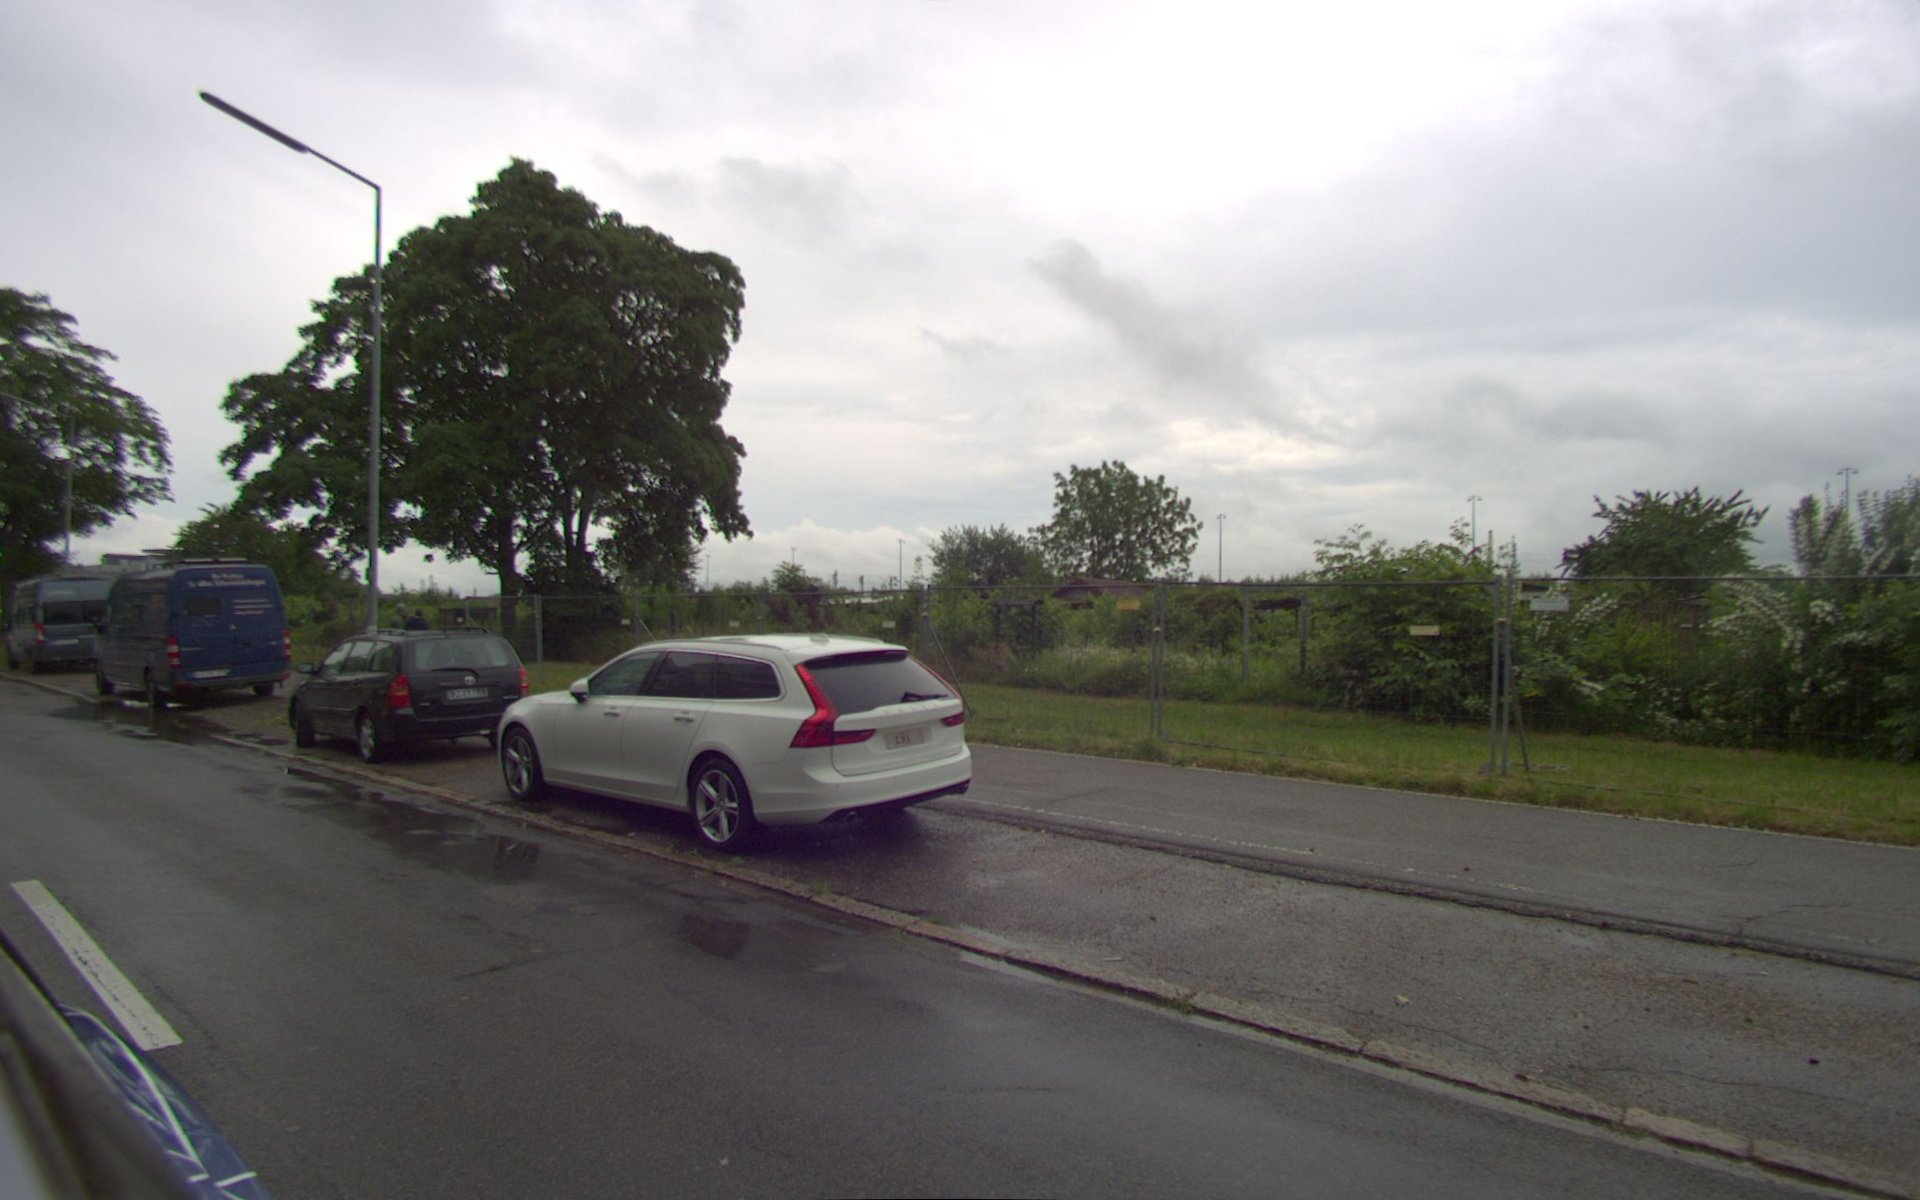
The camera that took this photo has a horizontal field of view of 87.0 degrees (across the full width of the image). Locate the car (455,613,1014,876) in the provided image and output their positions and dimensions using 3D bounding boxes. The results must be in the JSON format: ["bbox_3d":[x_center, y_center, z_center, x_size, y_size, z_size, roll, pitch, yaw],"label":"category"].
[{"bbox_3d":[-2.153,0.920,8.532,5.105,1.537,1.868,-1,1,40],"label":"car"}]

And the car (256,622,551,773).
[{"bbox_3d":[-7.204,1.064,12.853,4.825,1.514,1.755,-1,0,41],"label":"car"}]

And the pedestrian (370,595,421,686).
[{"bbox_3d":[-12.871,0.898,23.056,0.900,2.029,0.730,-1,0,40],"label":"pedestrian"}]

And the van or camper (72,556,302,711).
[{"bbox_3d":[-16.259,0.578,21.057,7.566,2.736,2.074,0,1,39],"label":"van or camper"}]

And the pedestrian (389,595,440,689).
[{"bbox_3d":[-12.041,0.915,22.338,0.853,2.029,0.712,-1,0,40],"label":"pedestrian"}]

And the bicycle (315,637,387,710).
[{"bbox_3d":[-10.837,1.258,17.949,0.686,1.159,2.685,-1,-1,-40],"label":"bicycle"}]

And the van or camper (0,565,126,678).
[{"bbox_3d":[-27.604,0.584,30.934,6.418,3.117,2.074,0,1,40],"label":"van or camper"}]
